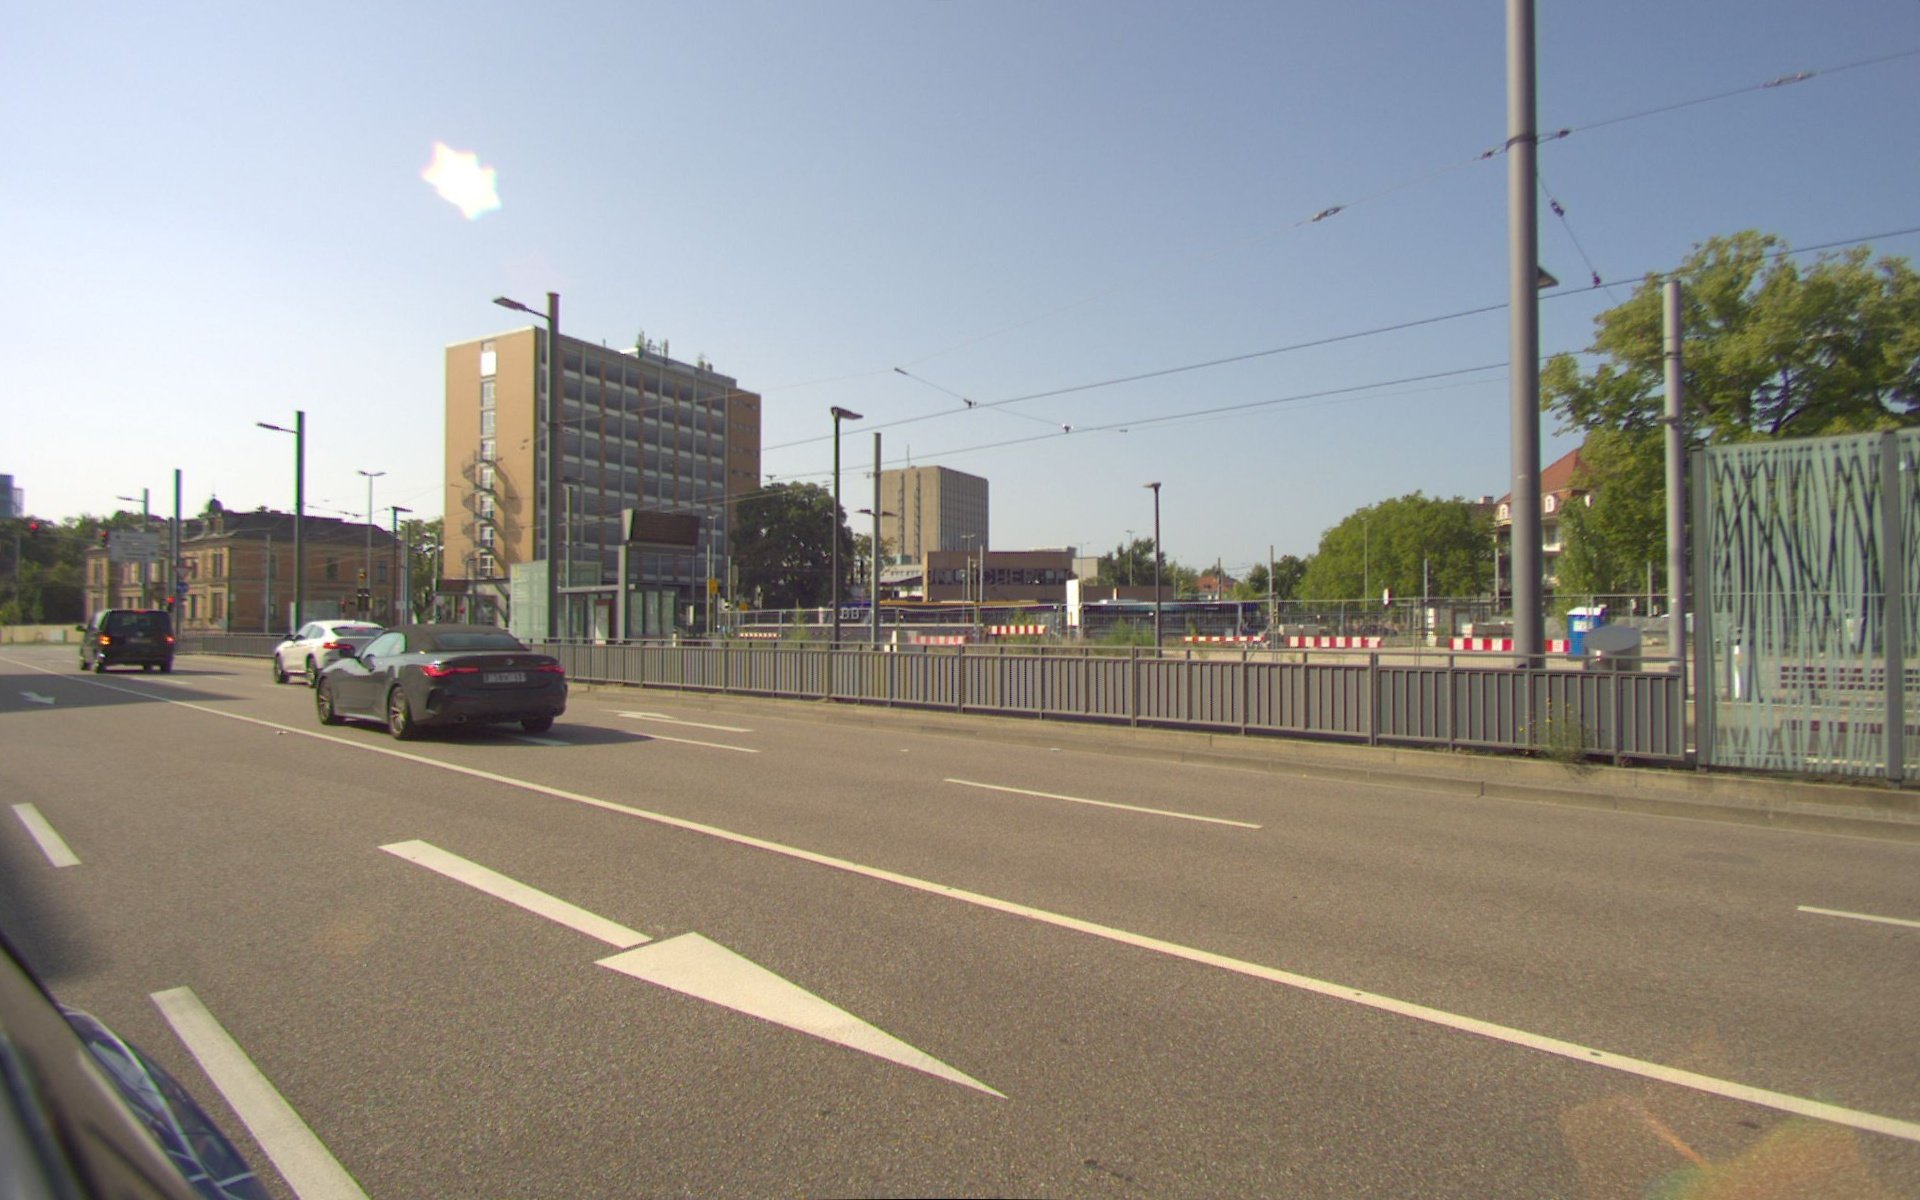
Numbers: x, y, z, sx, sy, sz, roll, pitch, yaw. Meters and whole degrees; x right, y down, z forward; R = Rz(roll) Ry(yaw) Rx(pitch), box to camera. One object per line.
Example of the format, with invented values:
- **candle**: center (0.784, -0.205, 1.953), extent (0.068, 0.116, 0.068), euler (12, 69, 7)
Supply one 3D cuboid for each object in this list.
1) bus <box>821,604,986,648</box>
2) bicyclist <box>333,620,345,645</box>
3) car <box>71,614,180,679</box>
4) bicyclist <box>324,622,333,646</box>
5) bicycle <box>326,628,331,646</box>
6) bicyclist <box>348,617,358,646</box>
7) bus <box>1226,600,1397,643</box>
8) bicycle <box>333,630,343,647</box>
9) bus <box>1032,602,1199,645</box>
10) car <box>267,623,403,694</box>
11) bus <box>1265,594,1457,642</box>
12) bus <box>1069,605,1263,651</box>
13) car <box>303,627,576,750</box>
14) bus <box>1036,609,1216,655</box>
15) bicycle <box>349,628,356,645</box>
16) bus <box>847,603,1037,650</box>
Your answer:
- **bus**: center (-4.566, 2.102, 81.967), extent (13.117, 3.445, 3.227), euler (0, -2, -3)
- **bicyclist**: center (-41.473, 2.171, 67.541), extent (0.579, 1.669, 0.792), euler (1, -2, -36)
- **car**: center (-26.571, 1.466, 32.160), extent (4.715, 1.919, 1.972), euler (-2, -4, 43)
- **bicyclist**: center (-43.388, 2.312, 69.485), extent (0.503, 1.642, 0.810), euler (1, -3, -33)
- **bicycle**: center (-43.397, 2.543, 69.538), extent (0.306, 1.174, 1.503), euler (1, -3, -32)
- **bicyclist**: center (-42.286, 2.173, 70.500), extent (0.571, 1.989, 0.810), euler (1, -3, -33)
- **bus**: center (29.127, 1.822, 84.254), extent (13.117, 3.445, 3.227), euler (0, -2, -3)
- **bicycle**: center (-41.455, 2.585, 67.489), extent (0.396, 1.118, 1.750), euler (1, -2, -37)
- **bus**: center (12.672, 1.957, 83.084), extent (13.117, 3.445, 3.227), euler (0, -2, -3)
- **car**: center (-15.683, 1.424, 25.310), extent (4.504, 1.624, 1.694), euler (-2, -4, 43)
- **bus**: center (29.780, 1.370, 75.422), extent (13.117, 3.445, 3.227), euler (0, -2, -3)
- **bus**: center (14.560, 2.007, 72.105), extent (13.117, 3.203, 3.228), euler (0, -2, -4)
- **car**: center (-6.929, 1.049, 13.246), extent (4.520, 1.341, 1.694), euler (-2, -4, 43)
- **bus**: center (12.510, 2.445, 76.944), extent (13.117, 3.445, 3.227), euler (0, -2, -3)
- **bicycle**: center (-42.316, 2.571, 70.509), extent (0.371, 1.174, 1.864), euler (1, -3, -32)
- **bus**: center (-1.328, 1.869, 71.292), extent (13.116, 3.203, 3.228), euler (0, -2, -4)
